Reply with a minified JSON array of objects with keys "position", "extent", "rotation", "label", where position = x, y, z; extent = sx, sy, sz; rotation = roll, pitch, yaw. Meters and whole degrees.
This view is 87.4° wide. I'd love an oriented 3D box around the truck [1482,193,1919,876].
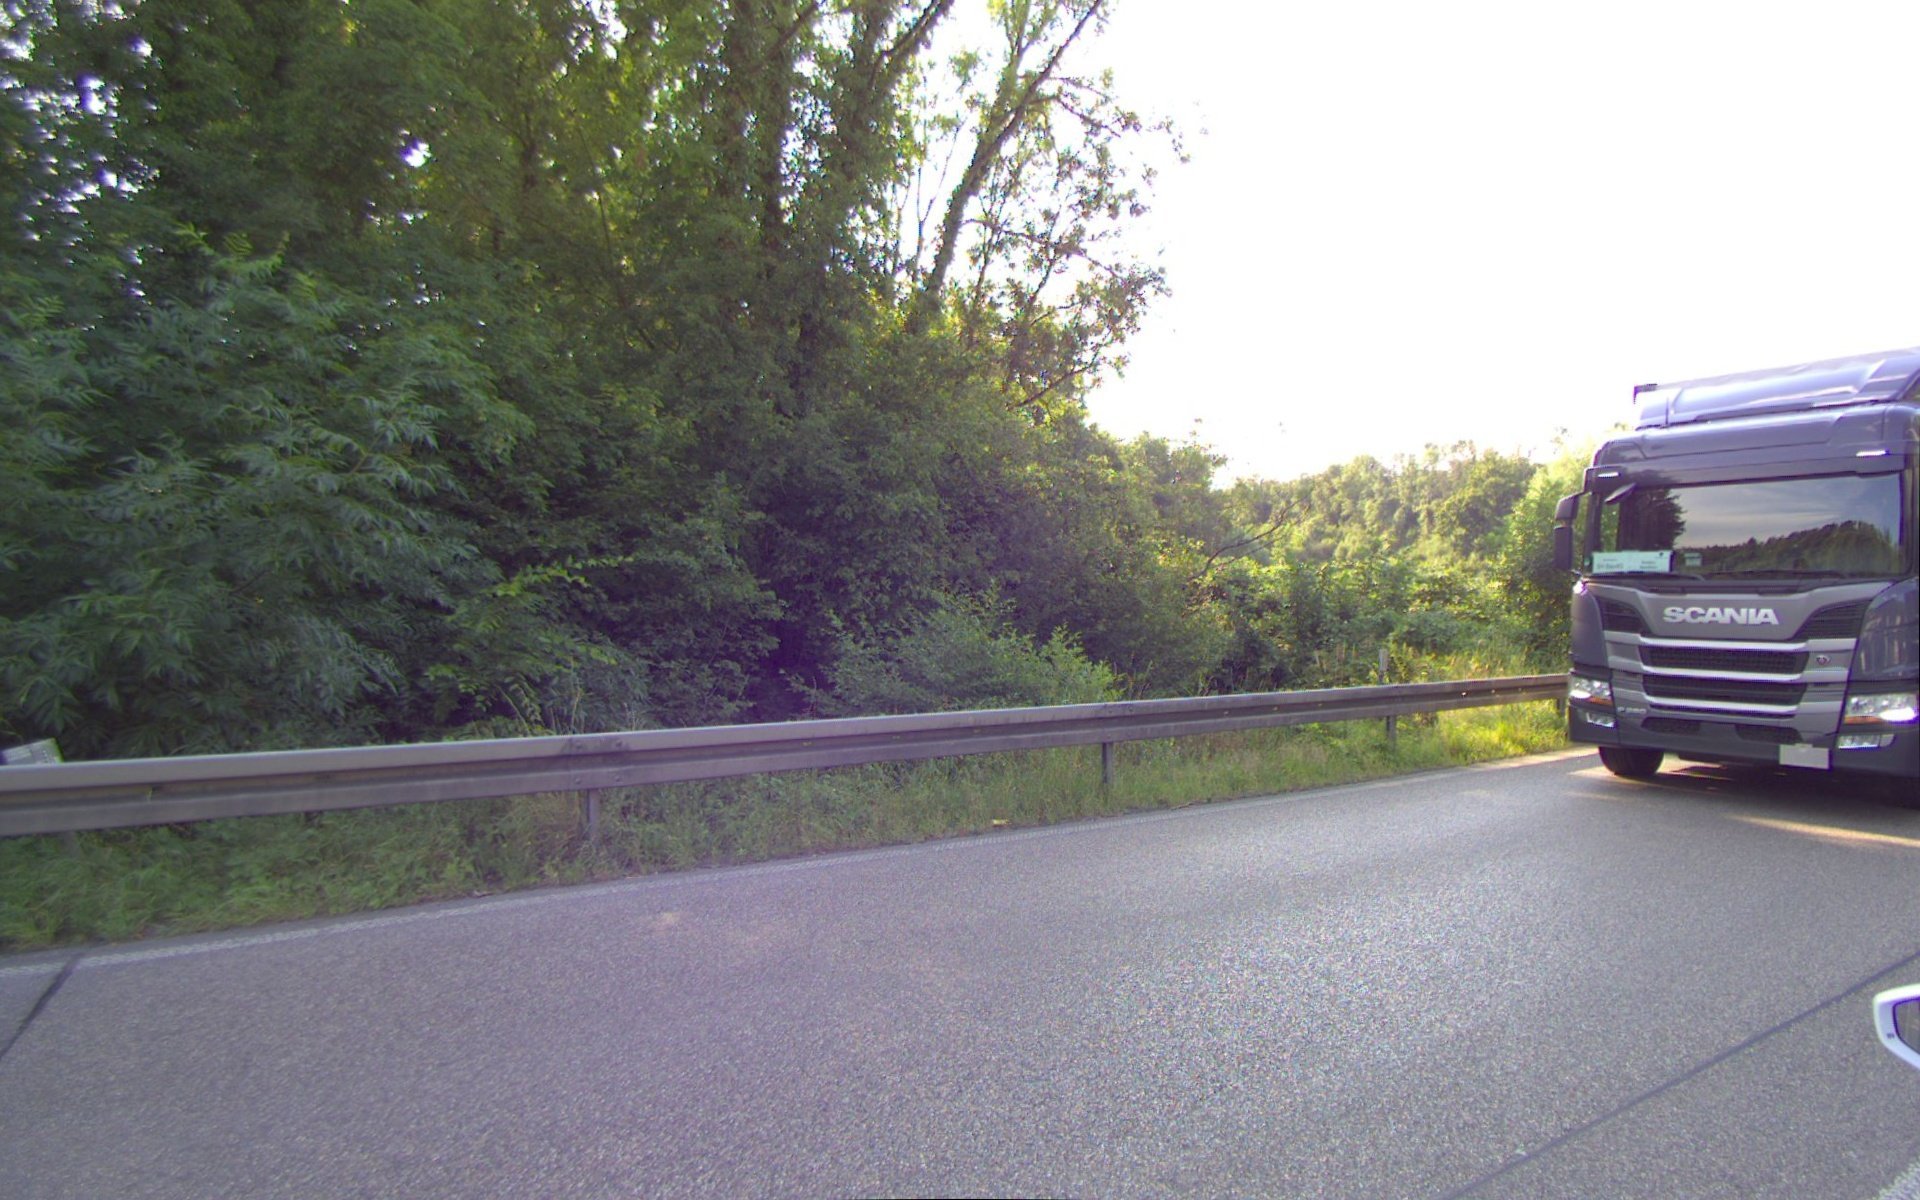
[{"position":[9.667,-0.374,11.068],"extent":[10.151,4.646,2.988],"rotation":[1,0,-39],"label":"truck"}]
